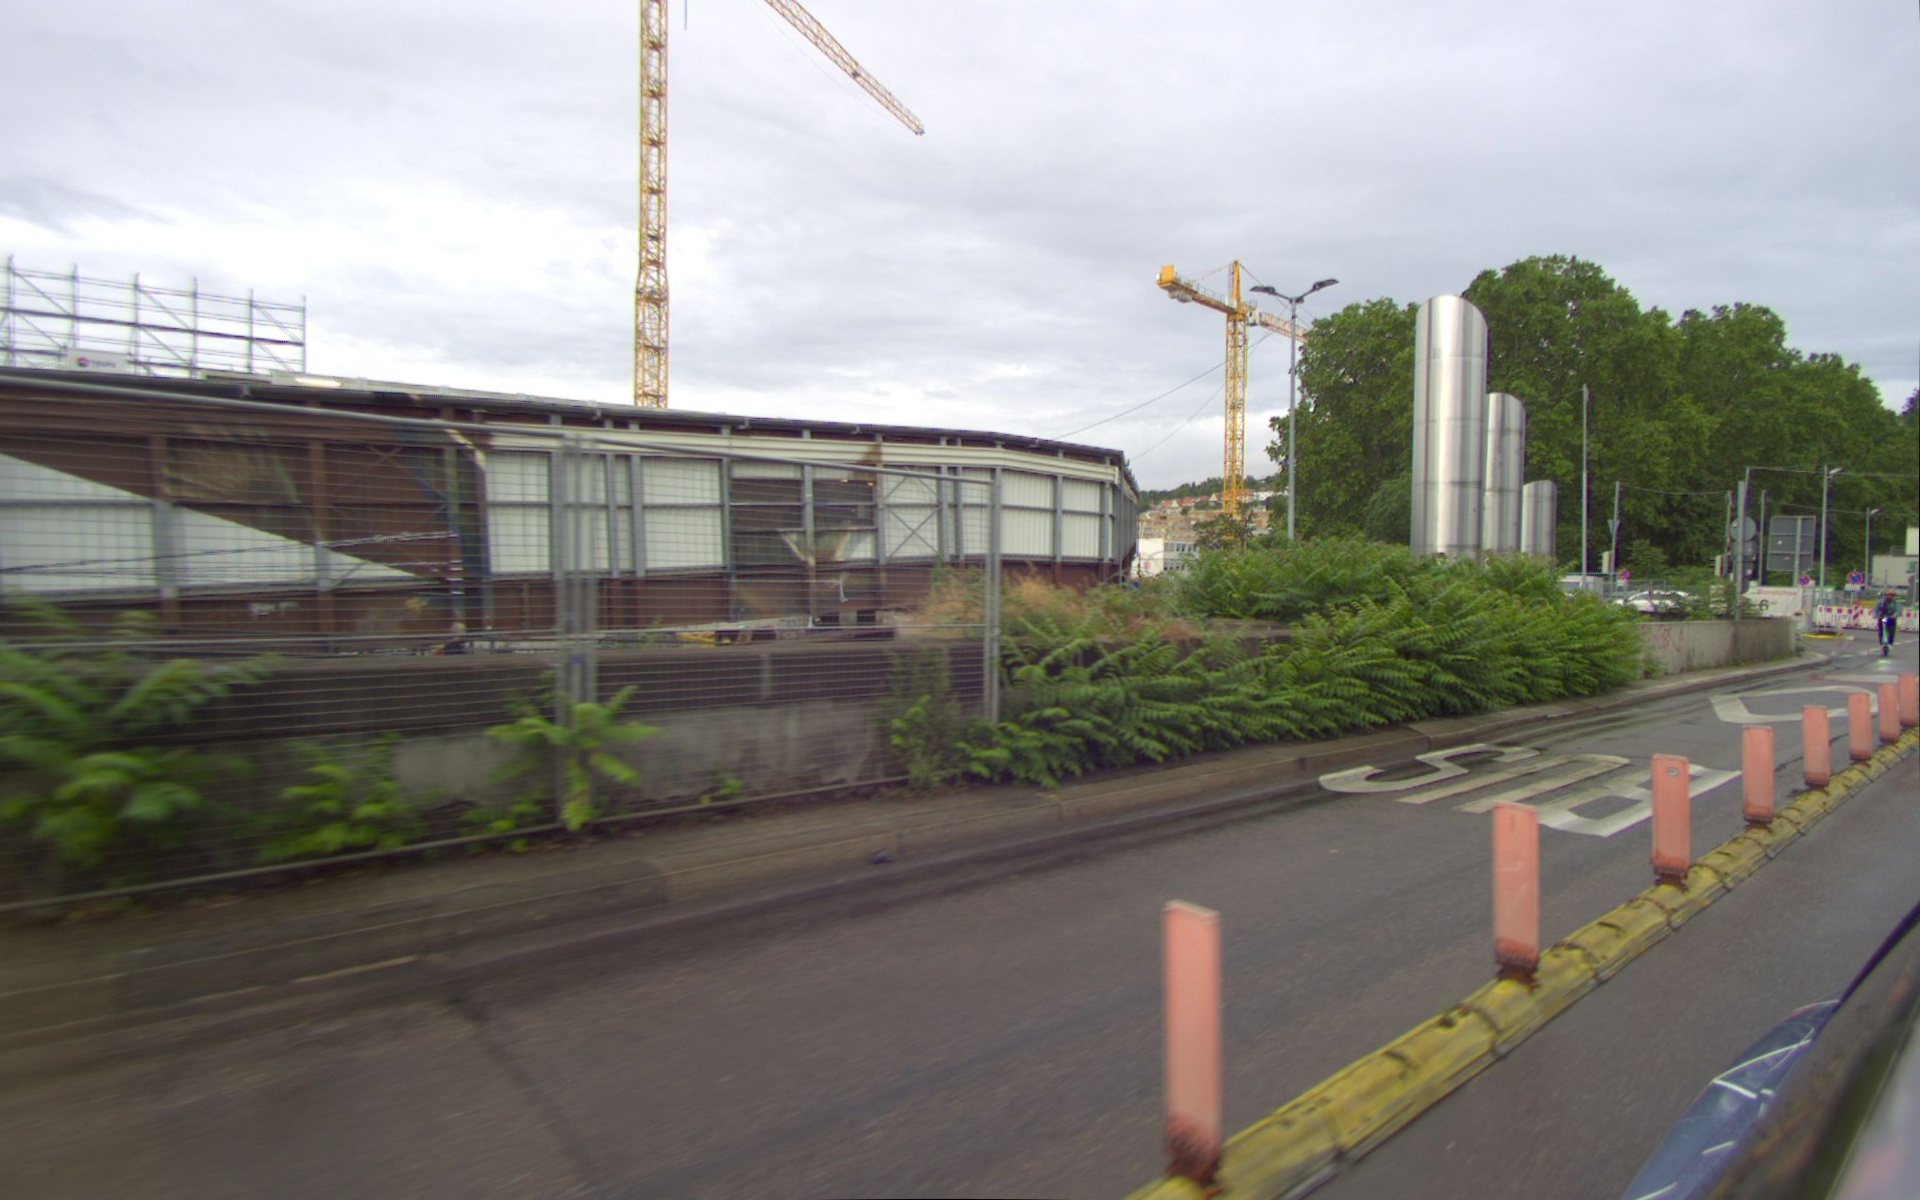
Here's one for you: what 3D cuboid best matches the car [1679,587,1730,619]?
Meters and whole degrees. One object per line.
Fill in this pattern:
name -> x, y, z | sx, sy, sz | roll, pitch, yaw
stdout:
car -> 42.617, 0.166, 57.888 | 1.992, 1.657, 4.127 | 3, 1, 41

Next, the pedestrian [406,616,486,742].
pedestrian -> -8.067, 1.205, 15.899 | 0.997, 1.855, 0.672 | 0, 1, -41

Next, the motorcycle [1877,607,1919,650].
motorcycle -> 28.892, 0.862, 31.153 | 2.123, 1.244, 0.729 | 1, 1, -42

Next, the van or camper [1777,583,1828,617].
van or camper -> 53.899, 0.014, 64.725 | 2.118, 2.054, 4.933 | 3, 1, 44

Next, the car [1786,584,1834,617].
car -> 57.329, 0.031, 68.254 | 4.120, 2.092, 1.996 | 1, 1, -44

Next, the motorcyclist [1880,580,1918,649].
motorcyclist -> 28.843, 0.445, 31.085 | 0.577, 2.061, 0.725 | 2, 1, -41
